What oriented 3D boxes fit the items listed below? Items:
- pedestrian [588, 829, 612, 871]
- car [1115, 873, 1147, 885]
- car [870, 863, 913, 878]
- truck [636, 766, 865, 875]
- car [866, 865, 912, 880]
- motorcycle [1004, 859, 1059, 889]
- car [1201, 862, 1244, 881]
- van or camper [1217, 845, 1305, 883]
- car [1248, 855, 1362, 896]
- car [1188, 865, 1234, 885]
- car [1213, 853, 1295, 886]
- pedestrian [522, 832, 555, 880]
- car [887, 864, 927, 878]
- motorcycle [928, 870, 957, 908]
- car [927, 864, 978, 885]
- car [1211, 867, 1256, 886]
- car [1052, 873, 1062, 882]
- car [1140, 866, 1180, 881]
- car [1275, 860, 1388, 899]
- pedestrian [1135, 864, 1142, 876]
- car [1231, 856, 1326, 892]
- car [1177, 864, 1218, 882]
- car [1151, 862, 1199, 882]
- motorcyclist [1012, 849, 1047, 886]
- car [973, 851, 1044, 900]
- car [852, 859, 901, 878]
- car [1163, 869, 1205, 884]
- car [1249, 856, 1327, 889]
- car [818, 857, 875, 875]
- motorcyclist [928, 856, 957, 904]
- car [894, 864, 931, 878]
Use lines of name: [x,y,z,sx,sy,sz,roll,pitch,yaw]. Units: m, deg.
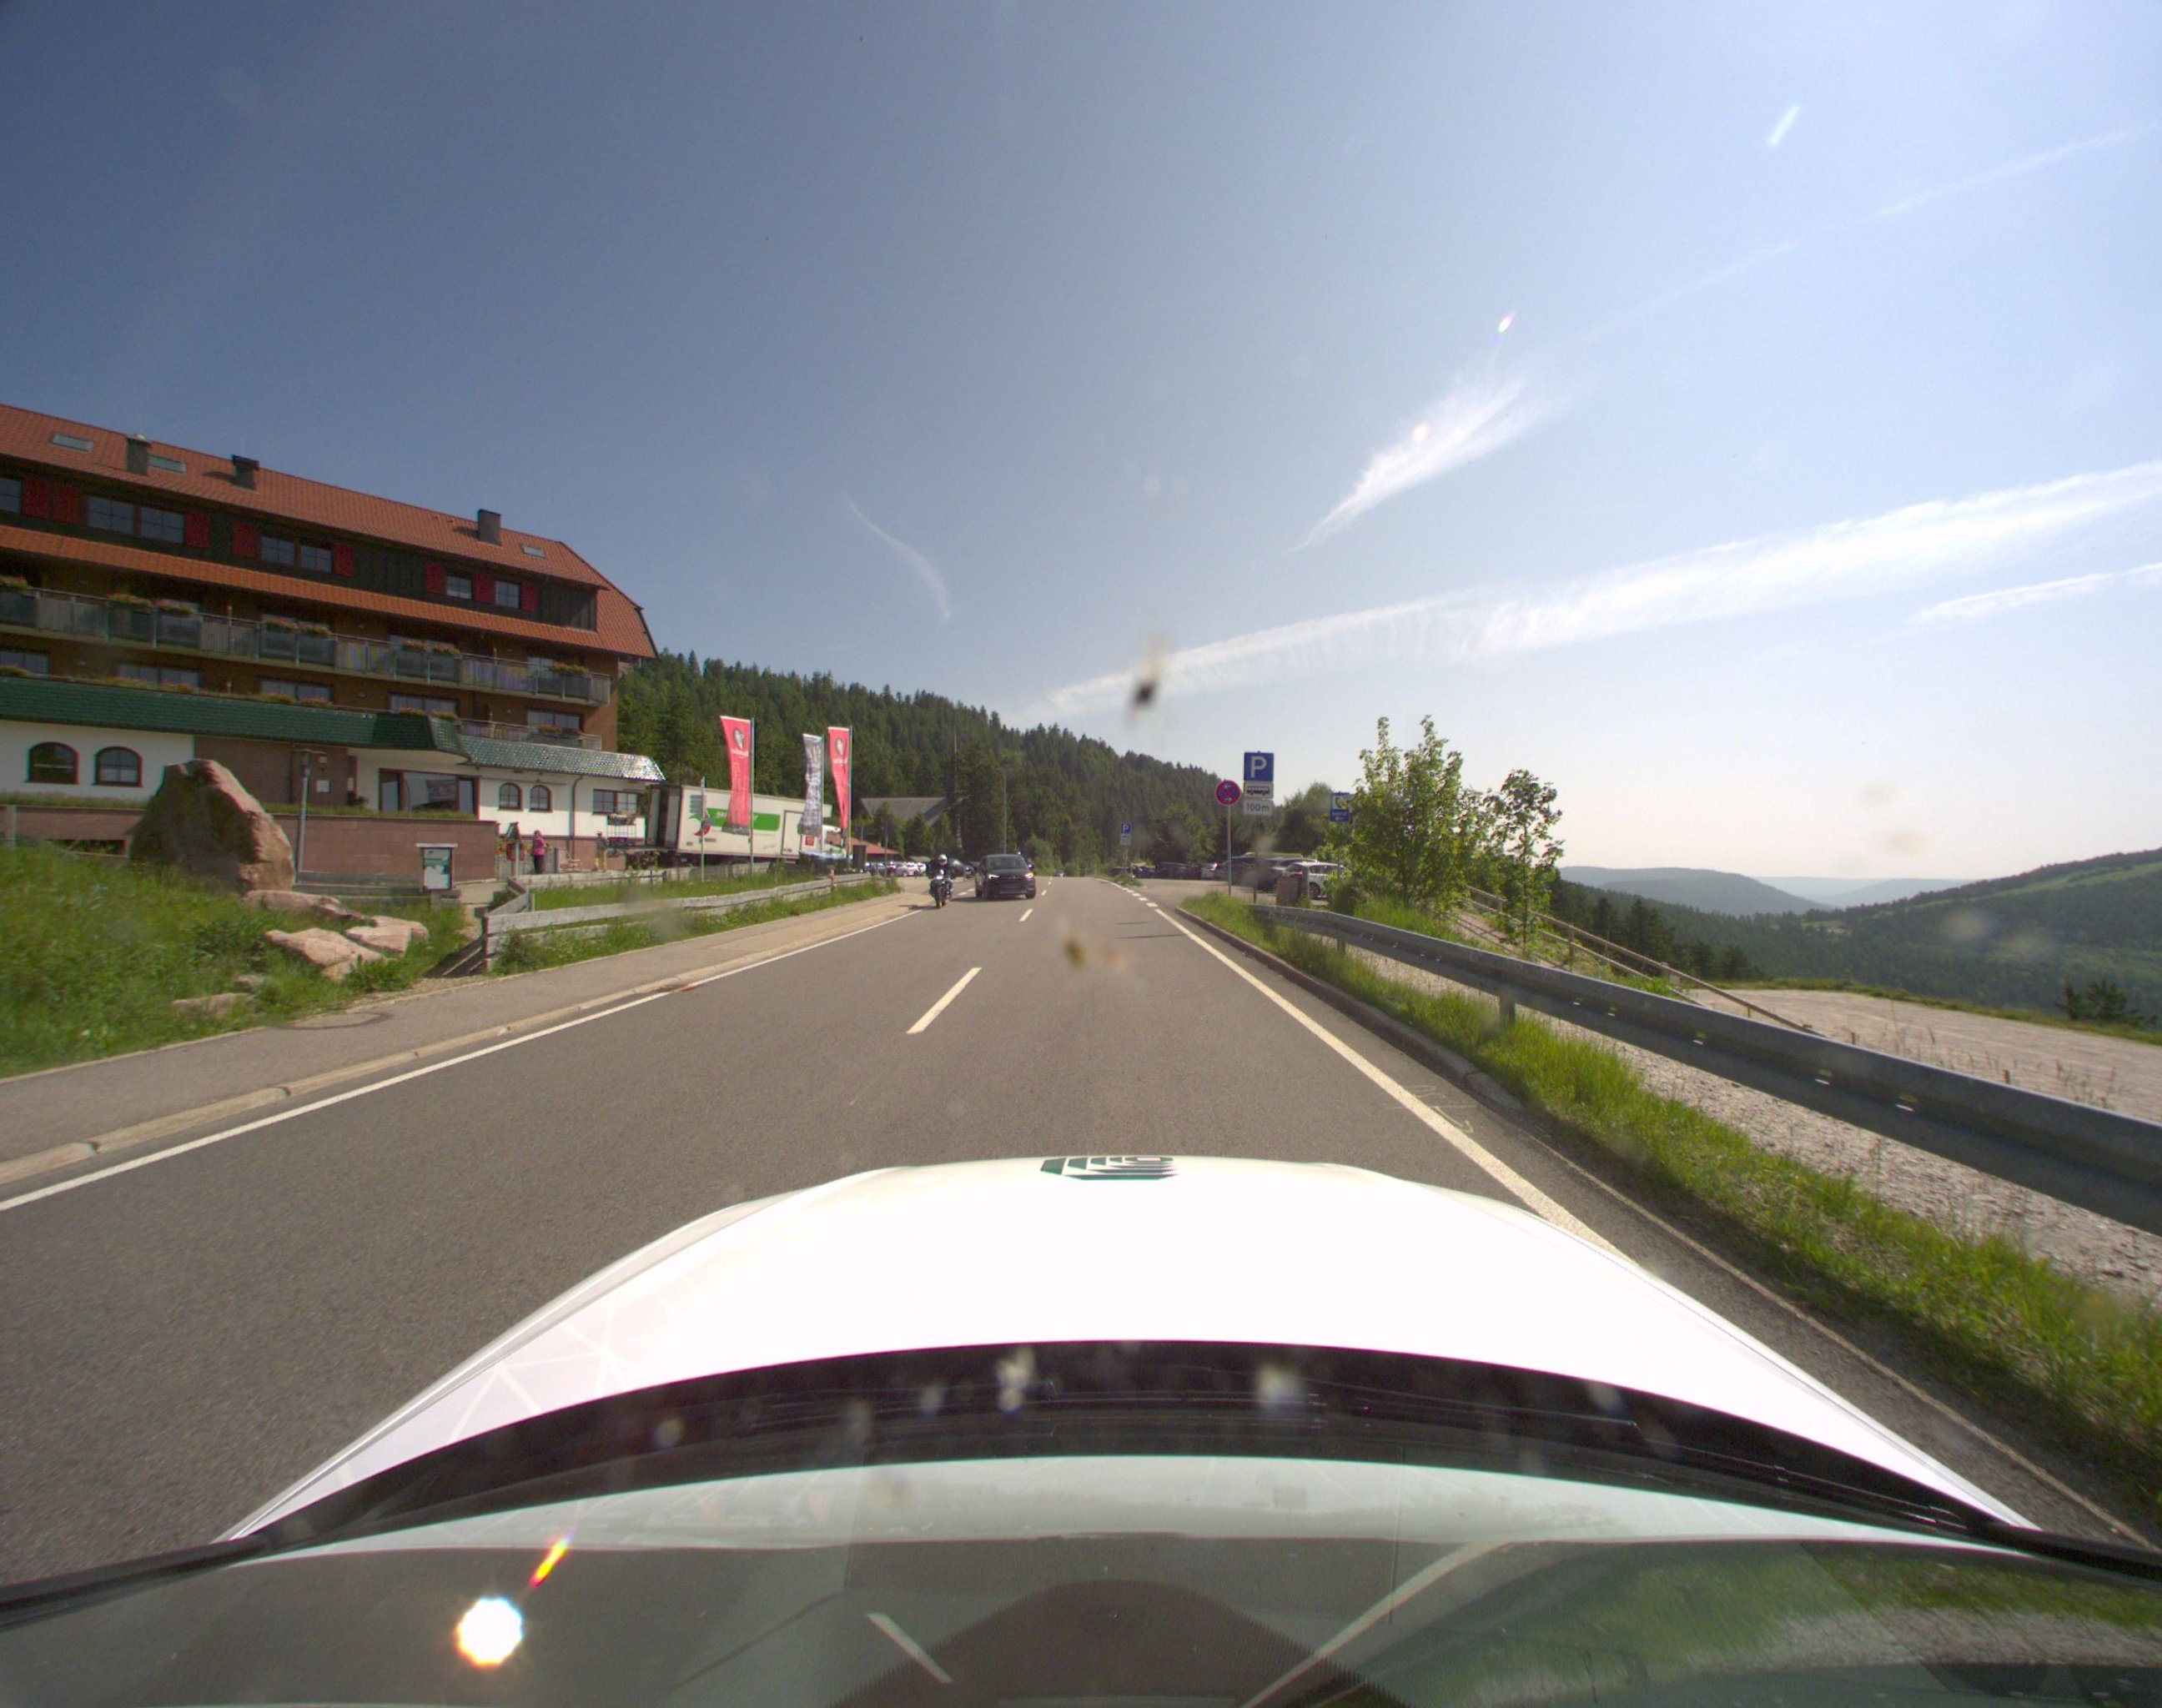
pedestrian: [-19.469,-0.164,32.949,0.568,1.689,0.657,-1,-1,35]
car: [7.551,3.786,123.621,4.464,1.299,1.572,6,-2,-18]
car: [-19.740,1.686,85.087,1.876,1.545,4.023,-1,-1,44]
truck: [-14.153,-1.262,35.816,3.031,3.972,8.825,2,-1,36]
car: [-18.773,1.773,79.647,4.021,1.371,1.791,0,-1,-40]
motorcycle: [-2.191,0.871,36.309,2.332,1.265,0.806,-1,-1,-27]
car: [13.357,1.664,76.902,4.019,1.476,1.747,5,-2,-39]
van or camper: [11.177,0.605,50.889,5.069,2.013,1.883,3,0,3]
car: [9.773,0.910,35.603,4.400,1.568,1.900,3,0,-12]
car: [12.655,2.040,79.226,4.293,1.695,1.968,5,-2,-39]
car: [9.465,0.838,44.686,3.983,1.613,1.912,2,-1,-7]
pedestrian: [-19.819,0.071,29.732,0.690,1.716,0.803,-1,-1,35]
car: [-19.578,1.911,91.568,1.975,1.574,4.024,-2,-1,43]
motorcycle: [-4.335,1.062,25.448,0.839,1.096,2.175,-2,-1,-10]
car: [-9.729,1.518,61.592,1.818,1.540,4.141,0,-1,-43]
car: [13.904,2.063,73.973,4.019,1.549,1.799,5,-2,-39]
car: [-4.119,4.073,141.864,1.574,1.429,3.373,0,0,2]
car: [8.913,2.160,91.614,4.003,1.443,1.826,4,-2,-23]
car: [10.033,1.019,32.700,3.988,1.386,1.651,3,-1,-11]
pedestrian: [6.552,1.795,93.066,0.770,1.403,0.670,0,-1,5]
car: [9.405,0.951,38.927,3.988,1.510,1.835,2,0,-11]
car: [11.929,1.893,83.002,4.019,1.590,1.842,5,-2,-39]
car: [10.260,1.925,88.523,4.774,1.880,1.953,4,-2,-21]
motorcyclist: [-2.292,0.593,36.262,1.302,1.641,0.874,-1,-1,-27]
car: [-2.714,0.742,29.587,1.983,1.616,4.130,-2,0,-14]
car: [-19.073,1.322,76.060,4.021,1.704,1.804,0,-1,-42]
car: [10.786,2.352,85.347,4.010,1.415,1.728,4,-2,-29]
car: [10.706,0.955,42.175,3.570,1.495,1.647,3,0,-1]
car: [-19.032,0.941,66.261,1.890,1.430,4.024,-1,-1,43]
motorcyclist: [-4.346,0.790,25.482,0.839,1.441,1.001,-2,-1,-11]
car: [-20.117,2.026,97.543,1.754,1.672,4.055,-3,-2,42]
